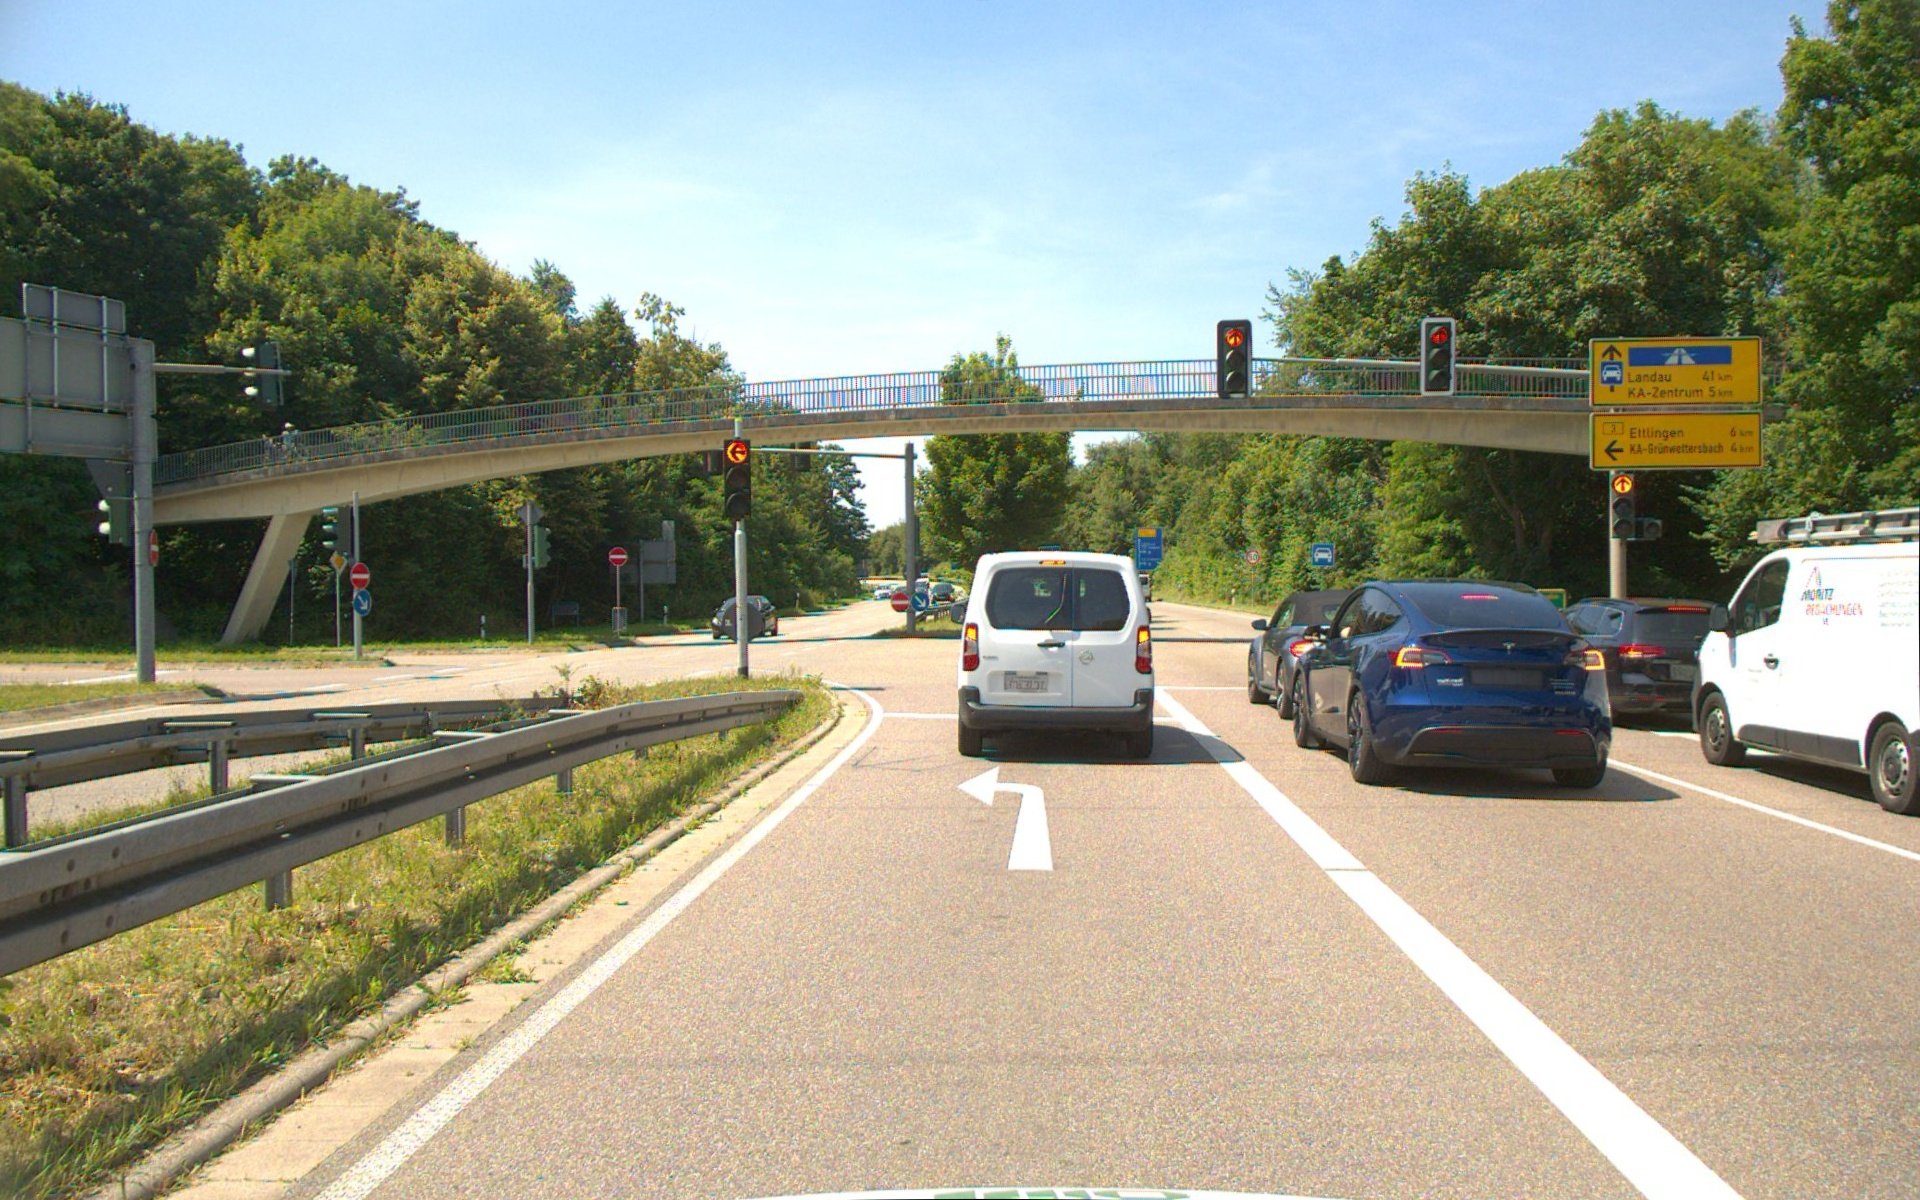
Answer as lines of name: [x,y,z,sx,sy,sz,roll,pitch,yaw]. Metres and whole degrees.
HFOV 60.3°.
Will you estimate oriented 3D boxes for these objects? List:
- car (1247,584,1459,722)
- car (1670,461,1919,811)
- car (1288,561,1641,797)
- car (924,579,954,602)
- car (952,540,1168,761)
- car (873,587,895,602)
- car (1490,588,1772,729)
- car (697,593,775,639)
car: [4.726,0.569,20.431,1.860,1.503,3.941,1,1,3]
car: [7.597,0.244,13.173,1.892,2.390,5.077,1,0,3]
car: [4.095,0.544,14.235,1.860,1.673,4.522,1,1,3]
car: [-1.617,-0.758,128.227,1.952,1.713,4.002,1,0,4]
car: [0.932,0.390,16.107,1.810,1.857,3.983,1,1,2]
car: [-7.502,-0.517,163.228,1.716,1.431,4.002,-1,1,3]
car: [8.042,0.622,20.287,1.860,1.503,4.382,1,1,3]
car: [-7.853,0.537,58.364,1.966,1.486,4.057,-2,0,3]
